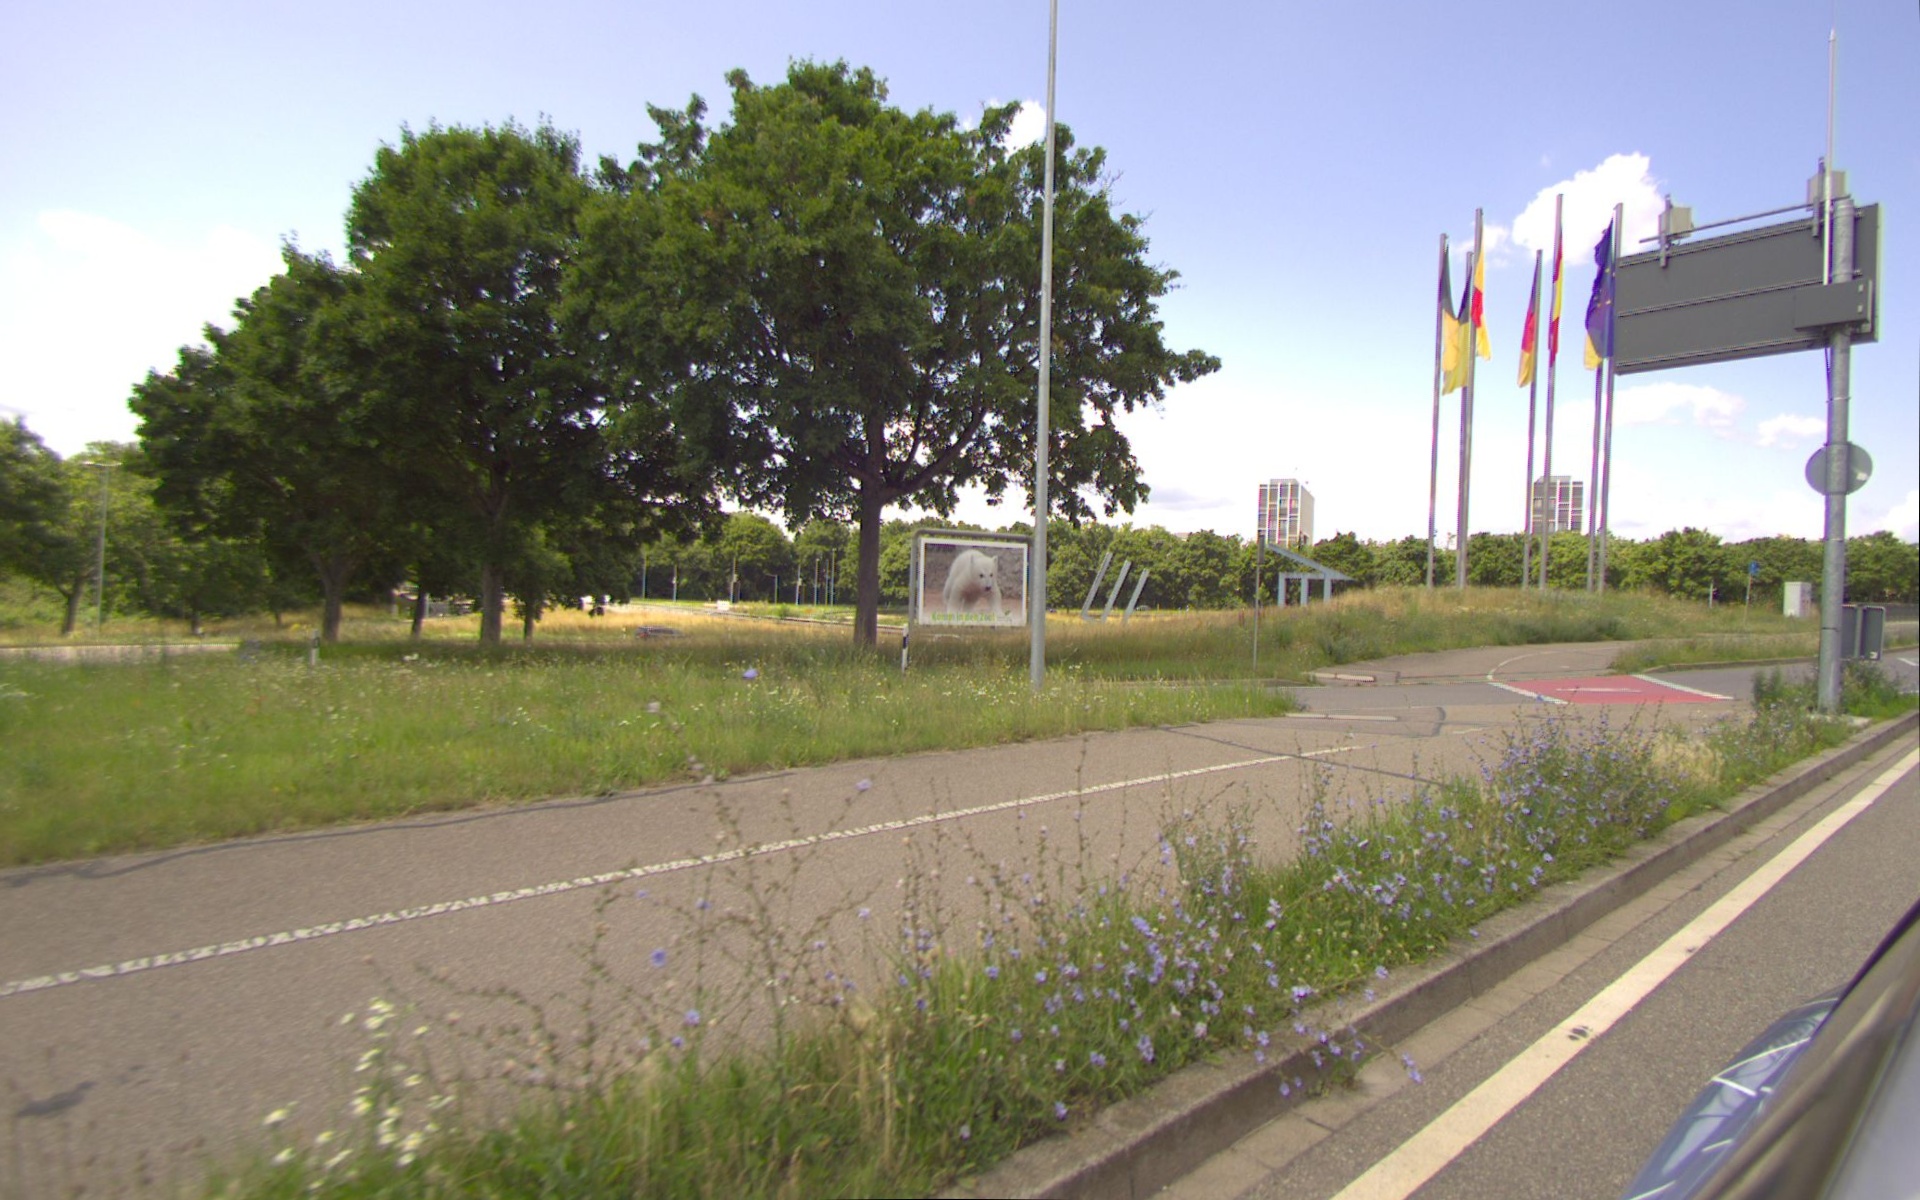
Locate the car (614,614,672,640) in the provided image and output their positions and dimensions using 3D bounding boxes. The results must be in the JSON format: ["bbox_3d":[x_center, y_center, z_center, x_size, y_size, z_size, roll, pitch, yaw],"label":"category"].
[{"bbox_3d":[-25.297,2.160,80.895,1.993,2.039,3.936,0,-1,44],"label":"car"}]
